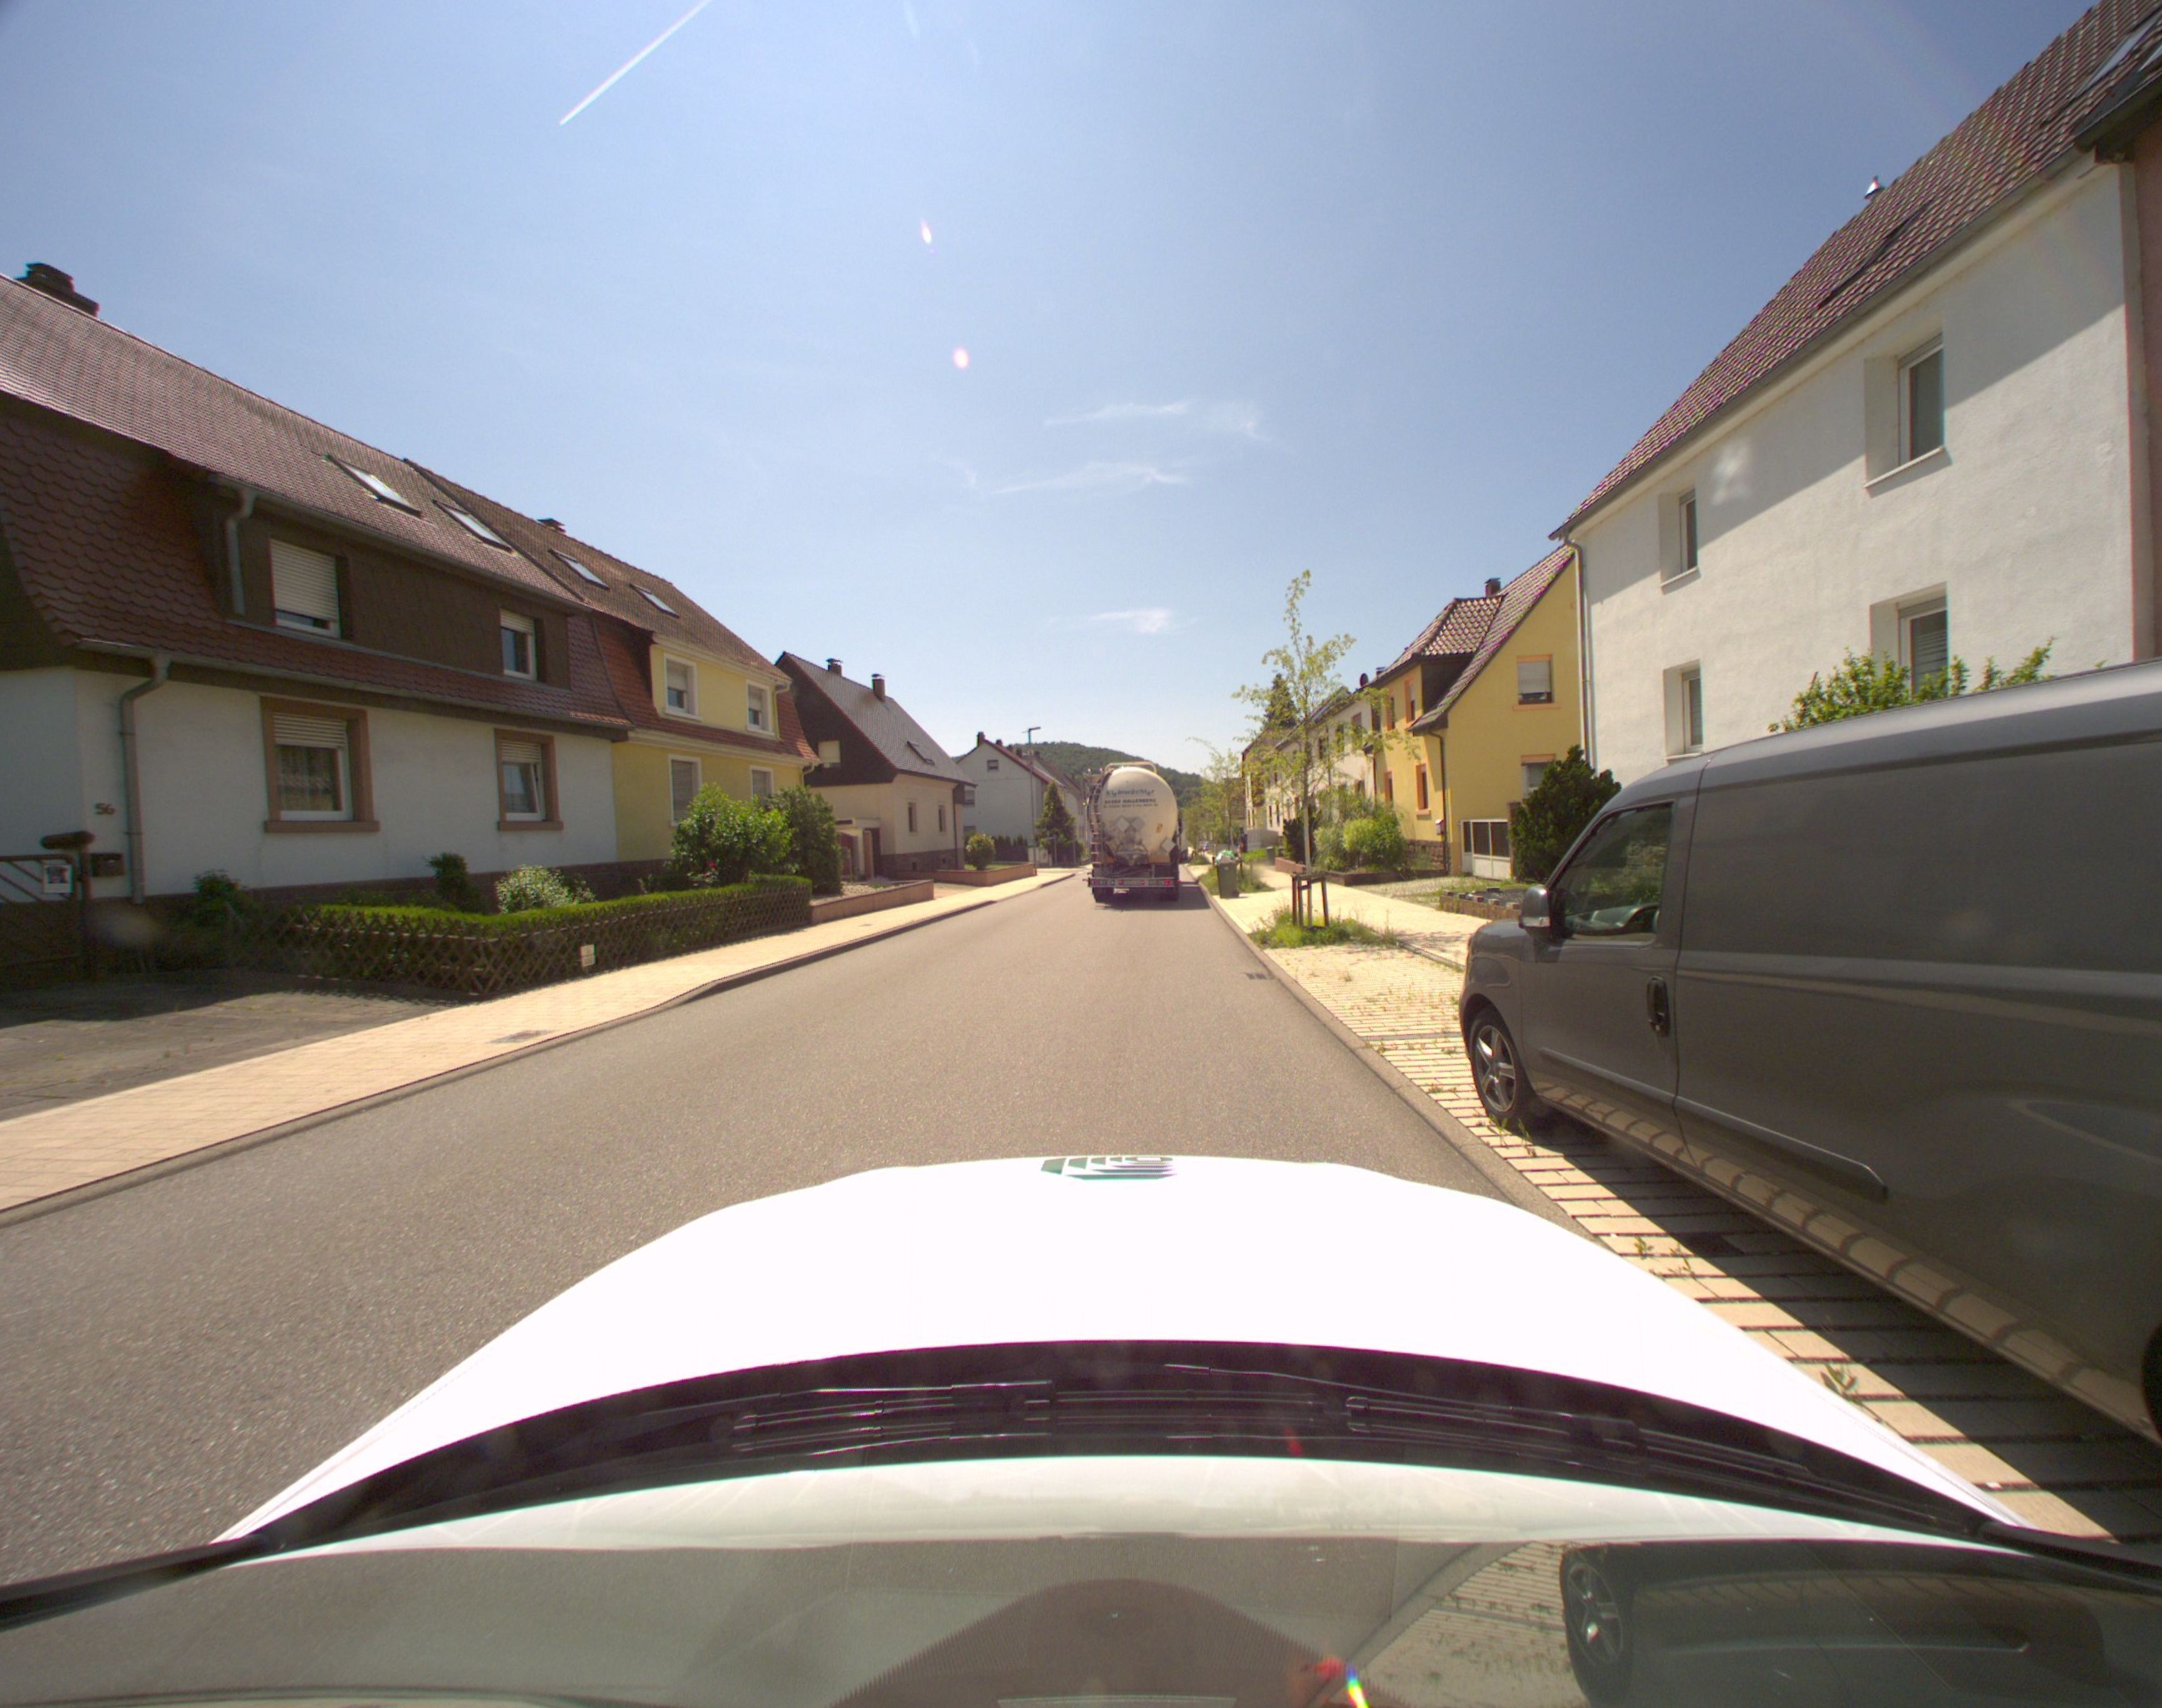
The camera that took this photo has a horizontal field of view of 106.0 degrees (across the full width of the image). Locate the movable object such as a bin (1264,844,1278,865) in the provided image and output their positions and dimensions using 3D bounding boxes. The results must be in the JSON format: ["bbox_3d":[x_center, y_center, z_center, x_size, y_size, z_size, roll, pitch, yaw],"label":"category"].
[{"bbox_3d":[11.067,0.033,47.506,0.679,1.115,0.815,-6,-1,12],"label":"movable object such as a bin"}]

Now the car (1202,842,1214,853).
[{"bbox_3d":[20.283,-1.051,129.846,1.781,1.541,4.529,-3,0,8],"label":"car"}]

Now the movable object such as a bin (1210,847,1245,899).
[{"bbox_3d":[4.304,0.546,23.947,0.788,1.395,0.926,-6,0,4],"label":"movable object such as a bin"}]

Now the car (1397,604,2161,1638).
[{"bbox_3d":[2.898,0.425,2.914,1.847,1.842,4.675,-3,0,3],"label":"car"}]

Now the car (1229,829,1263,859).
[{"bbox_3d":[12.442,-0.731,61.704,1.843,1.970,4.782,-7,0,6],"label":"car"}]

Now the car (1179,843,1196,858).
[{"bbox_3d":[13.969,-0.422,106.755,1.984,1.822,4.005,-2,0,4],"label":"car"}]

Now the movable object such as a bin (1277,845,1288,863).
[{"bbox_3d":[11.766,0.007,47.563,0.554,0.986,0.806,-7,-1,13],"label":"movable object such as a bin"}]

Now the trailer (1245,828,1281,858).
[{"bbox_3d":[12.676,-0.792,56.701,2.286,2.013,1.308,-2,0,-42],"label":"trailer"}]

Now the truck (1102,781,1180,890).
[{"bbox_3d":[2.481,-0.727,32.957,2.795,3.936,6.108,-1,1,5],"label":"truck"}]

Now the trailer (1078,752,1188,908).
[{"bbox_3d":[1.851,-0.710,26.473,2.782,4.000,10.340,-1,1,6],"label":"trailer"}]

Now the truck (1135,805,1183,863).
[{"bbox_3d":[7.275,-1.807,77.049,3.893,4.895,9.808,-3,0,4],"label":"truck"}]
